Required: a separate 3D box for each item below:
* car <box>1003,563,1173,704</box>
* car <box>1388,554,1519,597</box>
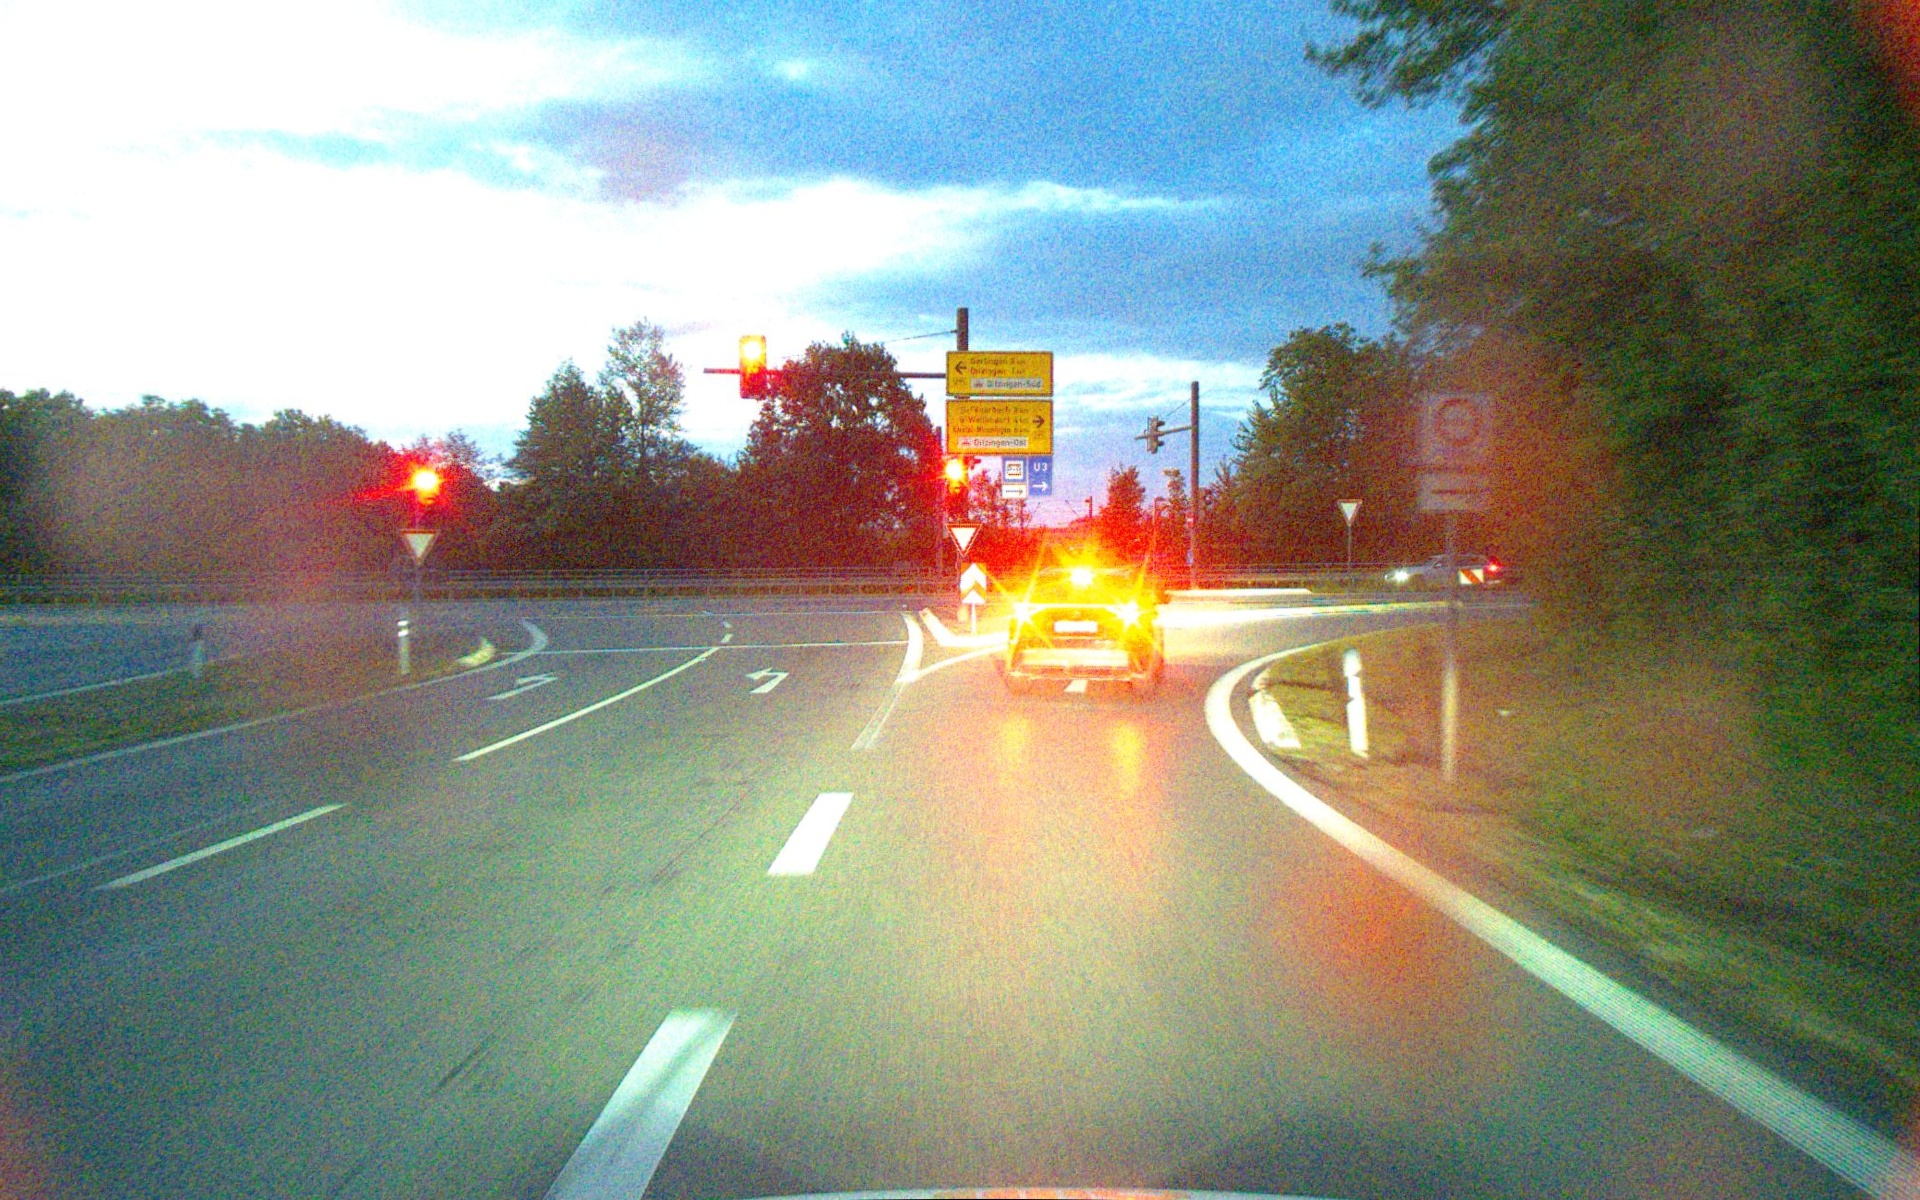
[{"bbox_3d":[1.828,0.353,22.196,1.860,1.648,4.561,1,1,9],"label":"car"},{"bbox_3d":[20.038,-1.006,67.208,4.777,1.711,1.992,0,1,-16],"label":"car"}]
